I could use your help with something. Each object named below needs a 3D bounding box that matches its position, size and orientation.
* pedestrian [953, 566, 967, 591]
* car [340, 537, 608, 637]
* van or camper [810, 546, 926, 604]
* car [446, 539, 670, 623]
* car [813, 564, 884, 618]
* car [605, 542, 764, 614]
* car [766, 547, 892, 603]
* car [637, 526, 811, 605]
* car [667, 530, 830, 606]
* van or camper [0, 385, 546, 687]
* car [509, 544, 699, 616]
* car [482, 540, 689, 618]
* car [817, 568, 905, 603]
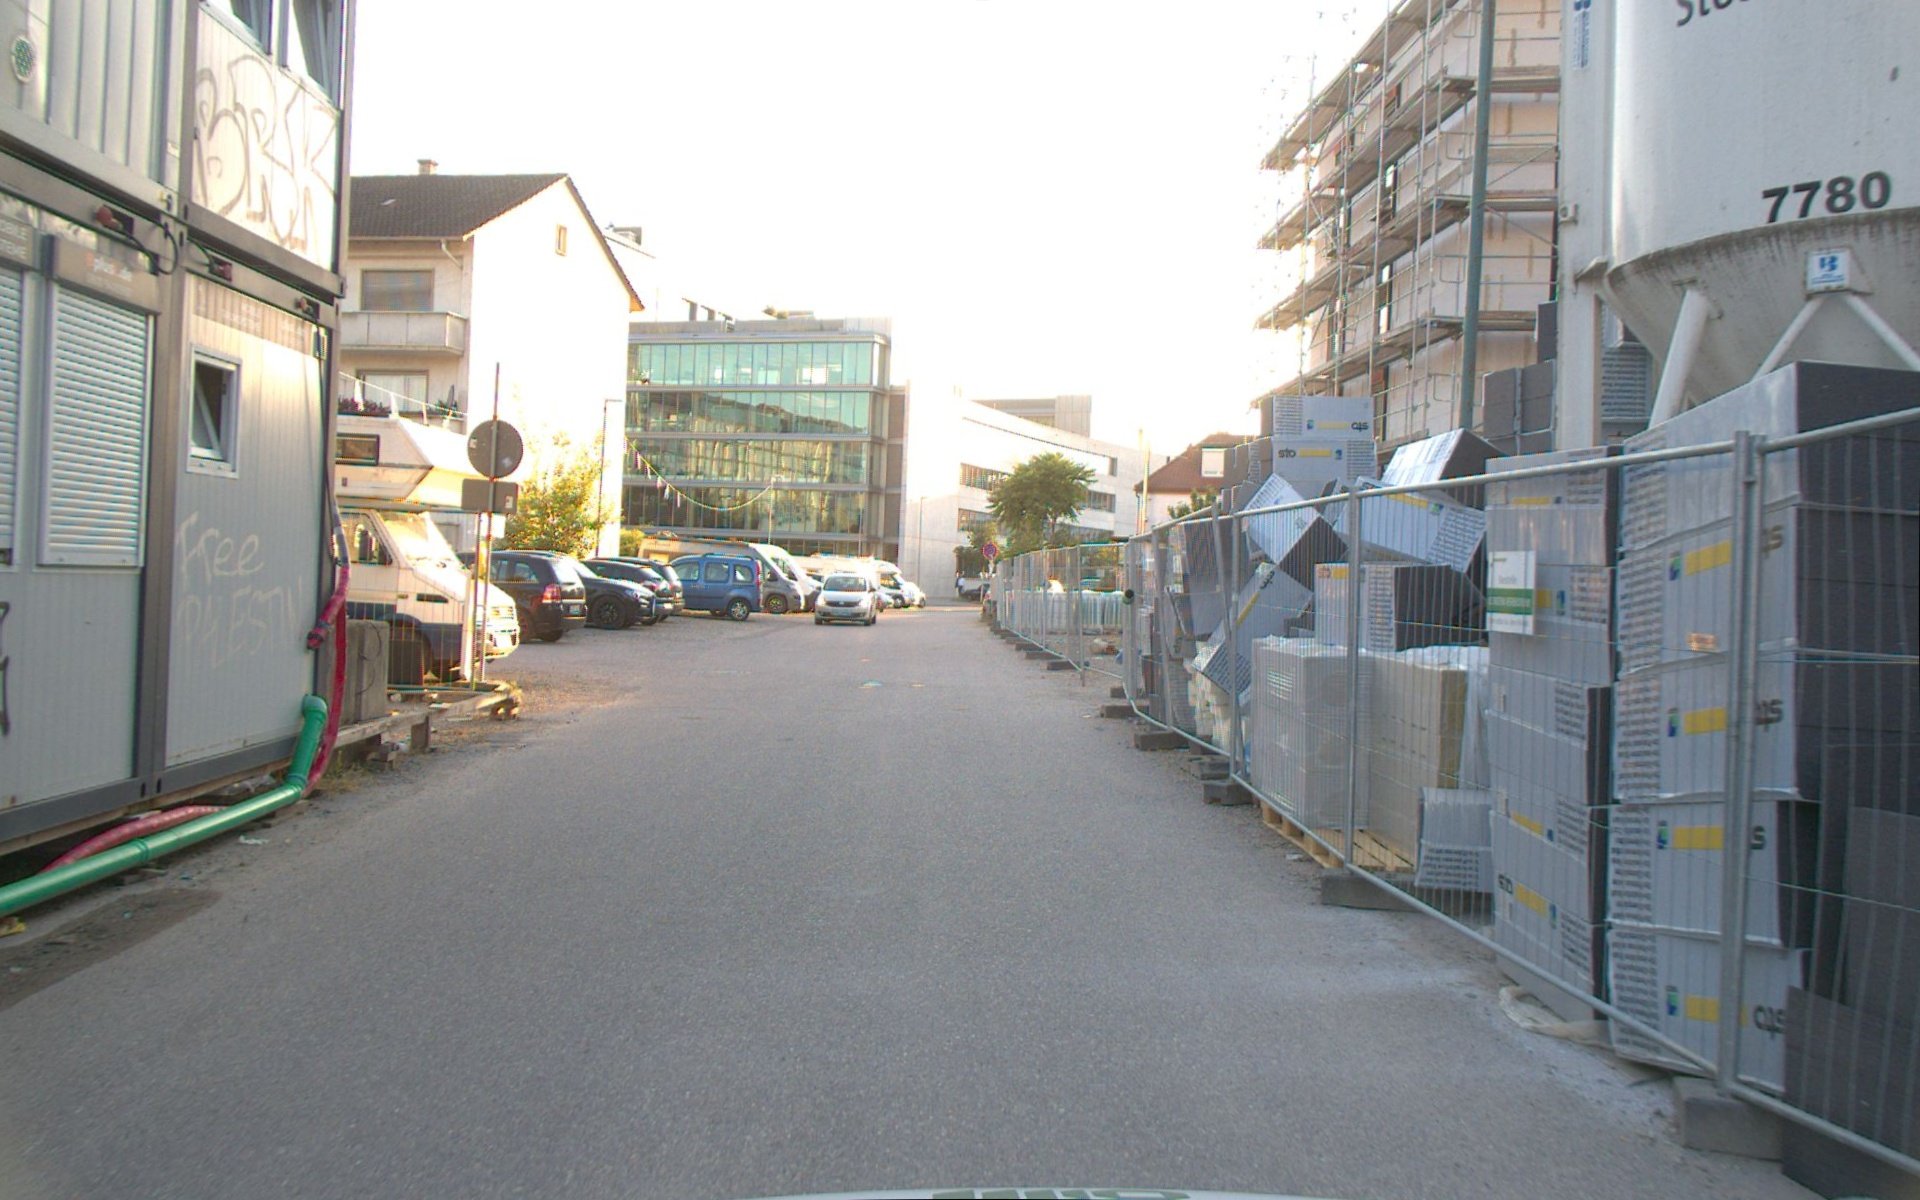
[{"bbox_3d":[0.003,-1.603,124.687,0.748,1.848,0.845,2,1,22],"label":"pedestrian"},{"bbox_3d":[-9.192,-0.249,31.495,4.408,1.676,2.002,2,1,7],"label":"car"},{"bbox_3d":[-5.306,-1.443,95.463,6.198,3.030,2.294,3,0,11],"label":"van or camper"},{"bbox_3d":[-8.963,-0.433,37.109,4.408,1.676,2.002,2,1,7],"label":"car"},{"bbox_3d":[-3.445,-0.305,51.665,1.630,1.555,3.913,2,1,4],"label":"car"},{"bbox_3d":[-8.013,-0.638,48.463,4.418,1.901,1.997,2,1,-7],"label":"car"},{"bbox_3d":[-6.456,-1.238,81.635,5.797,2.533,2.002,2,1,9],"label":"car"},{"bbox_3d":[-8.850,-1.288,62.401,6.200,2.697,2.000,2,1,-1],"label":"car"},{"bbox_3d":[-8.414,-1.287,66.317,6.200,2.788,2.000,2,1,-1],"label":"car"},{"bbox_3d":[-9.532,-0.780,19.419,8.586,3.102,2.595,2,1,0],"label":"van or camper"},{"bbox_3d":[-9.310,-0.524,43.431,4.408,1.676,2.002,2,1,7],"label":"car"},{"bbox_3d":[-9.025,-0.503,40.051,4.408,1.676,2.002,2,1,7],"label":"car"},{"bbox_3d":[-5.376,-0.792,89.788,4.408,1.676,2.002,2,1,7],"label":"car"}]
